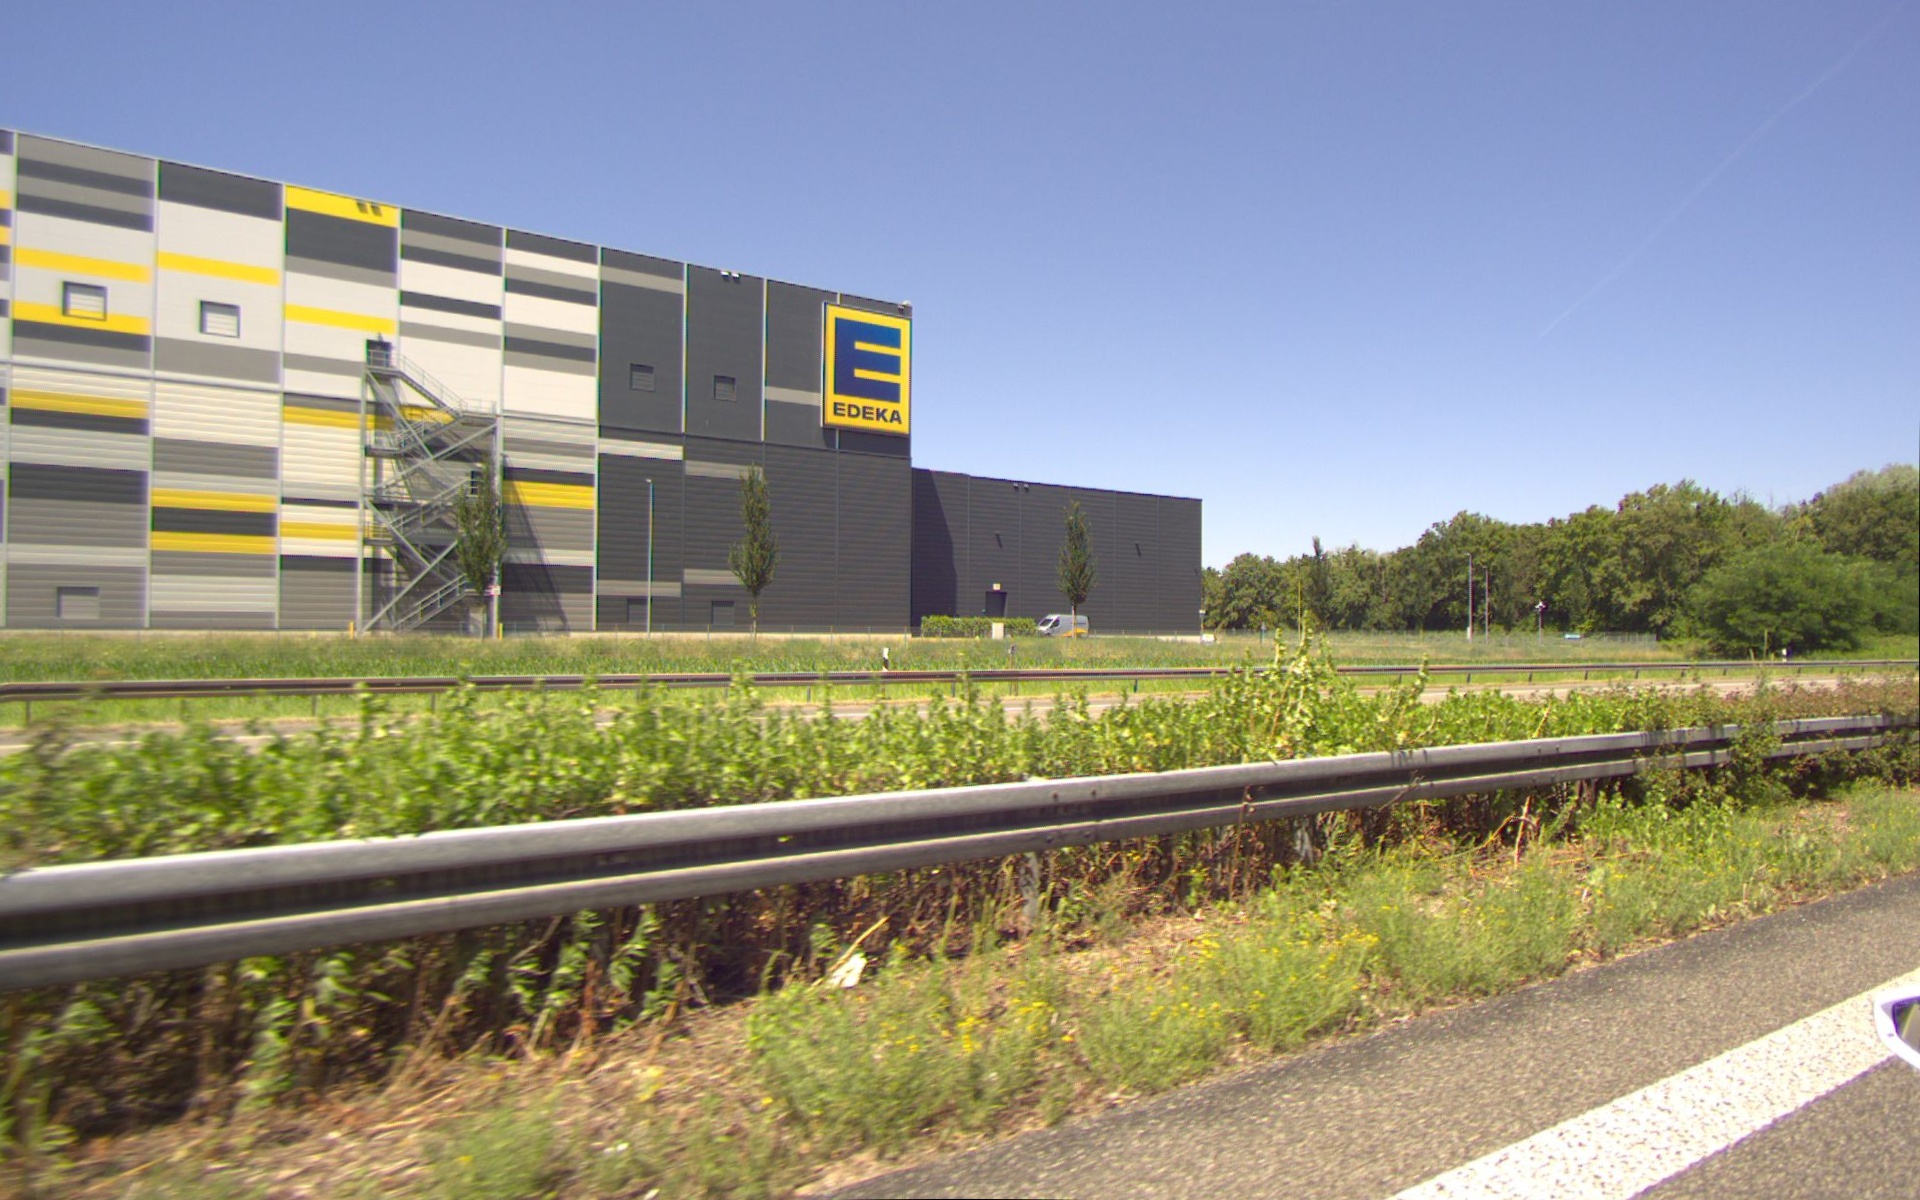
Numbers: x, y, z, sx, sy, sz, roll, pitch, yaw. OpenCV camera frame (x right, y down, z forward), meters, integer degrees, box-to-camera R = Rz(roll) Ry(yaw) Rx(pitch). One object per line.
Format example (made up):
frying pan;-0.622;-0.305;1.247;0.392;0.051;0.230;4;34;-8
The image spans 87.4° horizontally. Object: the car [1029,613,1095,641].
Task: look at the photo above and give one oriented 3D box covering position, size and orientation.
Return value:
car;9.759;2.603;95.957;6.102;2.488;2.386;2;-2;-31
